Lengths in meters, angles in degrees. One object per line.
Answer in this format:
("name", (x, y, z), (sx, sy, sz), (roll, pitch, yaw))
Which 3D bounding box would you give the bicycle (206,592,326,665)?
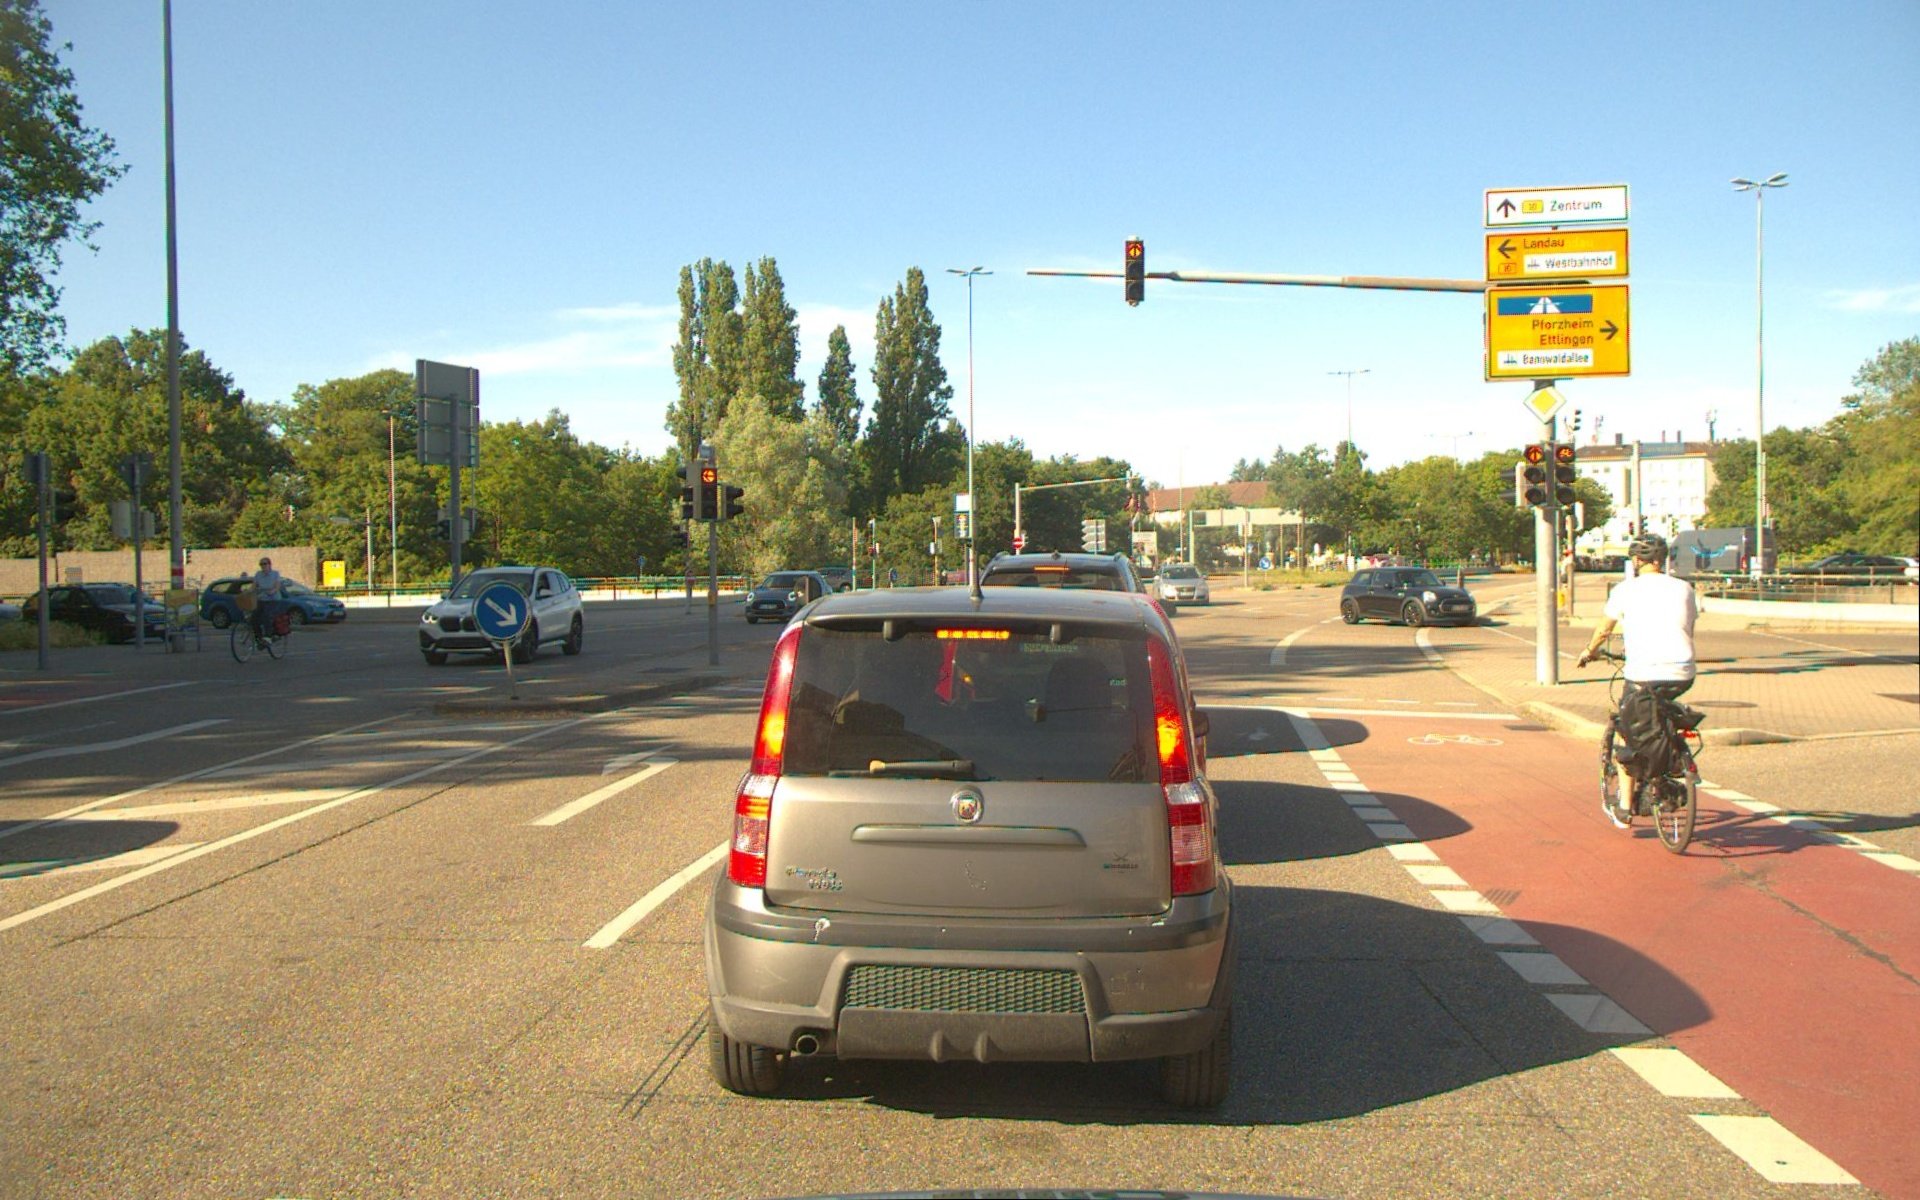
("bicycle", (-12.390, 0.483, 29.615), (0.672, 1.223, 2.329), (-1, 1, 15))

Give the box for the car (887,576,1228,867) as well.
("car", (0.587, 0.626, 10.768), (1.782, 1.505, 4.001), (1, 0, 2))

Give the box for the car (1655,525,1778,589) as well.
("car", (34.118, -1.892, 74.755), (2.223, 2.653, 4.852), (1, -2, -22))

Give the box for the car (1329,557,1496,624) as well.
("car", (11.161, -0.188, 41.020), (1.967, 1.479, 3.970), (2, -2, -24))

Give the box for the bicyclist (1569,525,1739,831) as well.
("bicyclist", (4.182, 0.438, 10.042), (0.782, 1.735, 1.086), (1, 0, 15))

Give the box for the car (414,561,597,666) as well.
("car", (-7.968, 0.182, 29.439), (1.795, 1.682, 4.630), (-1, 1, 2))

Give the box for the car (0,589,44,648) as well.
("car", (-26.388, 0.501, 43.333), (4.345, 1.464, 1.826), (-1, 1, 22))

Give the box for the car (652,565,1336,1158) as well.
("car", (0.183, 0.660, 6.405), (1.782, 1.515, 4.002), (2, 1, 3))

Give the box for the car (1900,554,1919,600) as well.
("car", (39.542, -0.916, 65.352), (3.922, 1.781, 1.991), (-1, -2, 38))

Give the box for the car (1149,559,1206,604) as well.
("car", (7.774, -0.695, 59.388), (1.714, 1.519, 4.352), (0, 2, 3))

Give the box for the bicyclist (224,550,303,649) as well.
("bicyclist", (-12.421, -0.020, 29.532), (0.672, 1.731, 1.199), (-1, 1, 15))

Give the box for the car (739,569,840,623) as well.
("car", (-4.889, -0.150, 47.859), (1.650, 1.482, 3.917), (0, 1, 14))

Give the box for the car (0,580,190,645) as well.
("car", (-20.995, 0.299, 39.982), (4.345, 1.464, 1.826), (-1, 1, 22))

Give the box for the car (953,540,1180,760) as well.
("car", (1.179, 0.372, 16.155), (1.829, 1.821, 4.418), (1, 1, 8))

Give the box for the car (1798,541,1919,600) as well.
("car", (33.235, -1.048, 60.966), (3.922, 2.049, 1.991), (-1, -2, 38))

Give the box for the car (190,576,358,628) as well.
("car", (-20.681, 0.046, 49.920), (4.341, 1.464, 1.828), (-1, 1, 11))

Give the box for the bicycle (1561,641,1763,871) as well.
("bicycle", (4.151, 0.850, 9.956), (0.782, 1.130, 2.403), (1, 0, 15))
